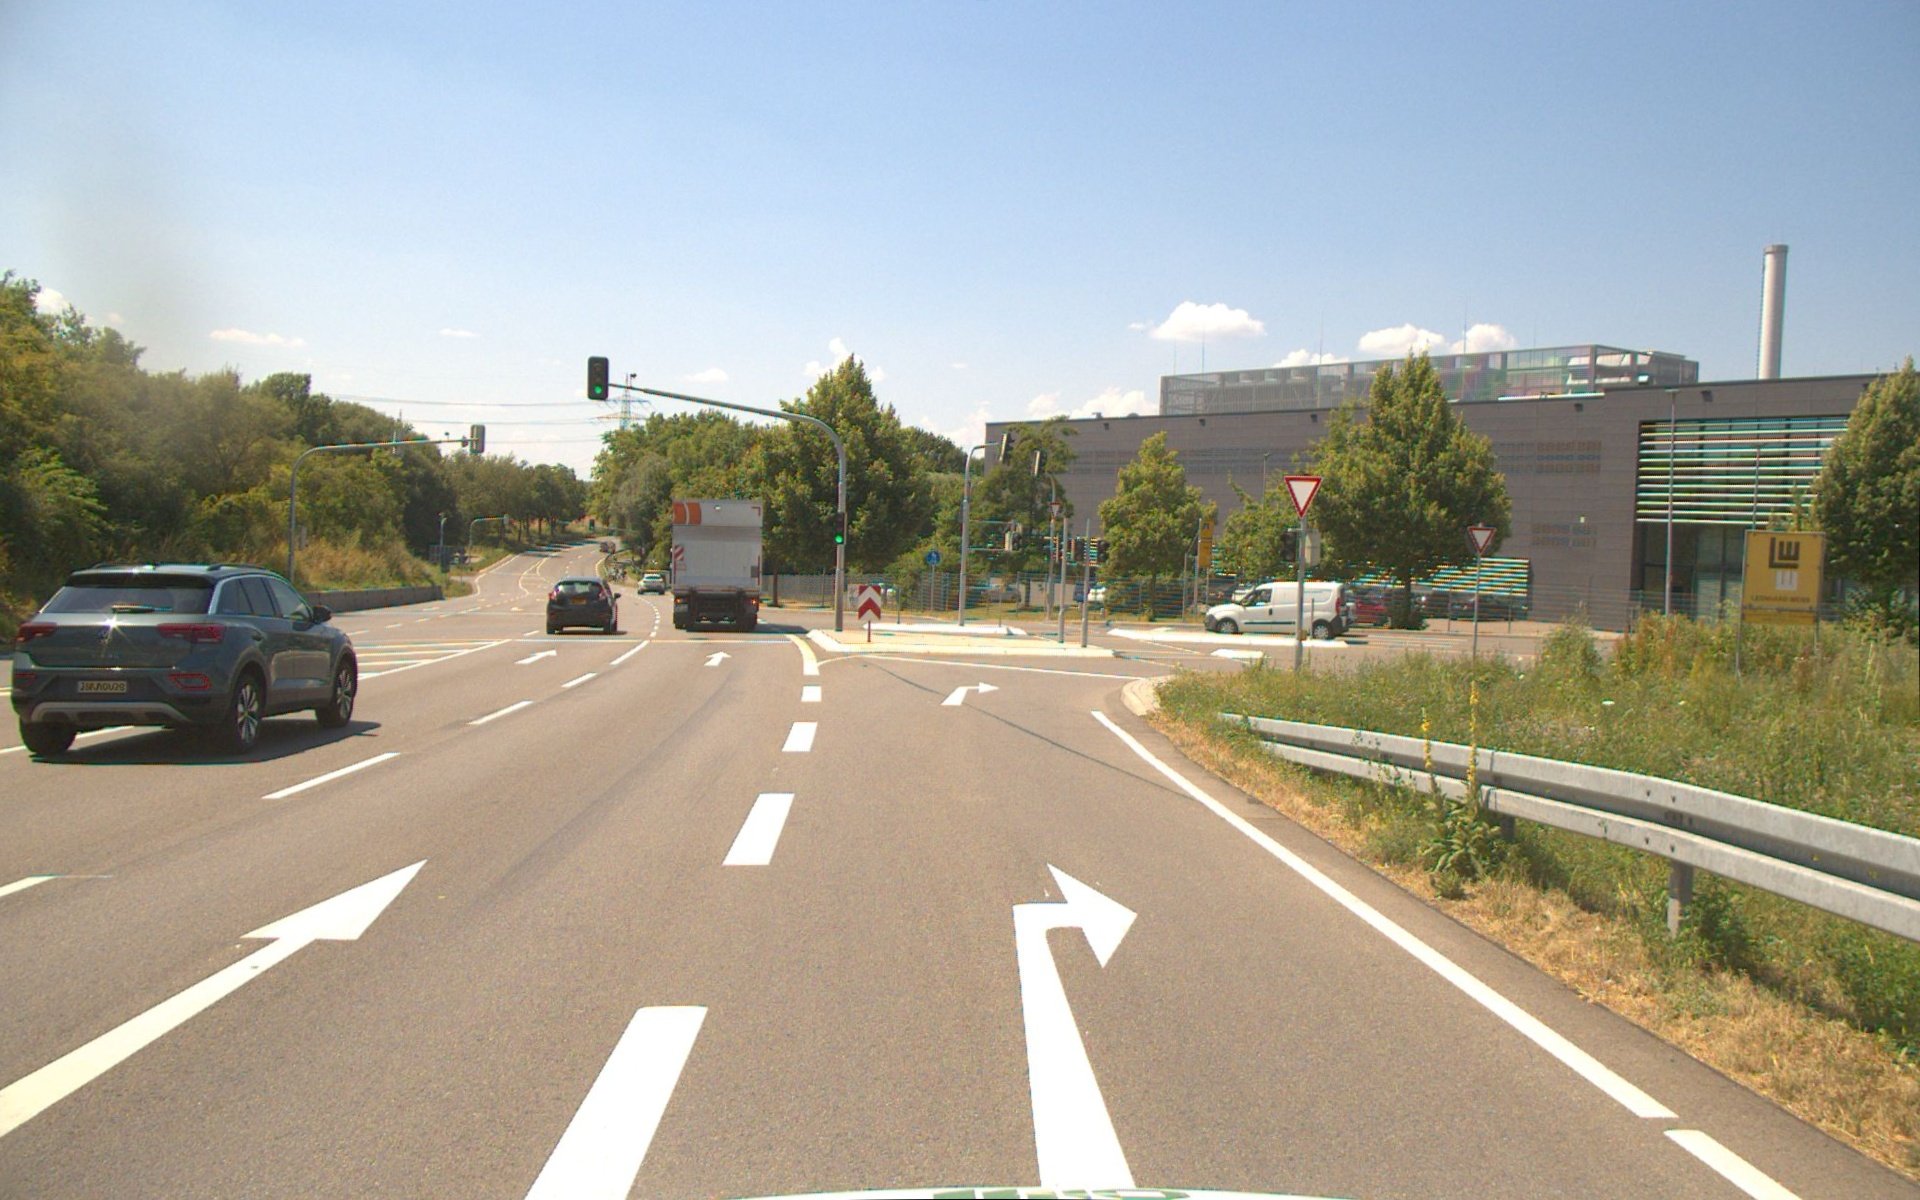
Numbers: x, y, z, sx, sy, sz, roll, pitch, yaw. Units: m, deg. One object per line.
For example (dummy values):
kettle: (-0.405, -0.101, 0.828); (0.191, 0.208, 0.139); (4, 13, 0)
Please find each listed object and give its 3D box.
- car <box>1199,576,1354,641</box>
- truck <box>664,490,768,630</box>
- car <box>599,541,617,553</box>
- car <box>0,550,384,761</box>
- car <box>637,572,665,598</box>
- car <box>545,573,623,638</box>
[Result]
car: (10.343, 0.265, 54.004); (4.647, 1.966, 2.154); (1, 0, 20)
truck: (-7.214, -1.204, 49.963); (2.750, 3.775, 9.095); (1, 1, -7)
car: (-53.001, -7.943, 248.845); (1.953, 1.713, 3.999); (1, 0, -2)
car: (-6.801, 0.407, 14.974); (1.798, 1.614, 4.389); (1, 1, -3)
car: (-23.152, -1.137, 123.898); (1.909, 1.693, 3.989); (4, 1, -12)
car: (-9.978, 0.098, 44.130); (1.622, 1.519, 4.201); (1, 2, -8)
